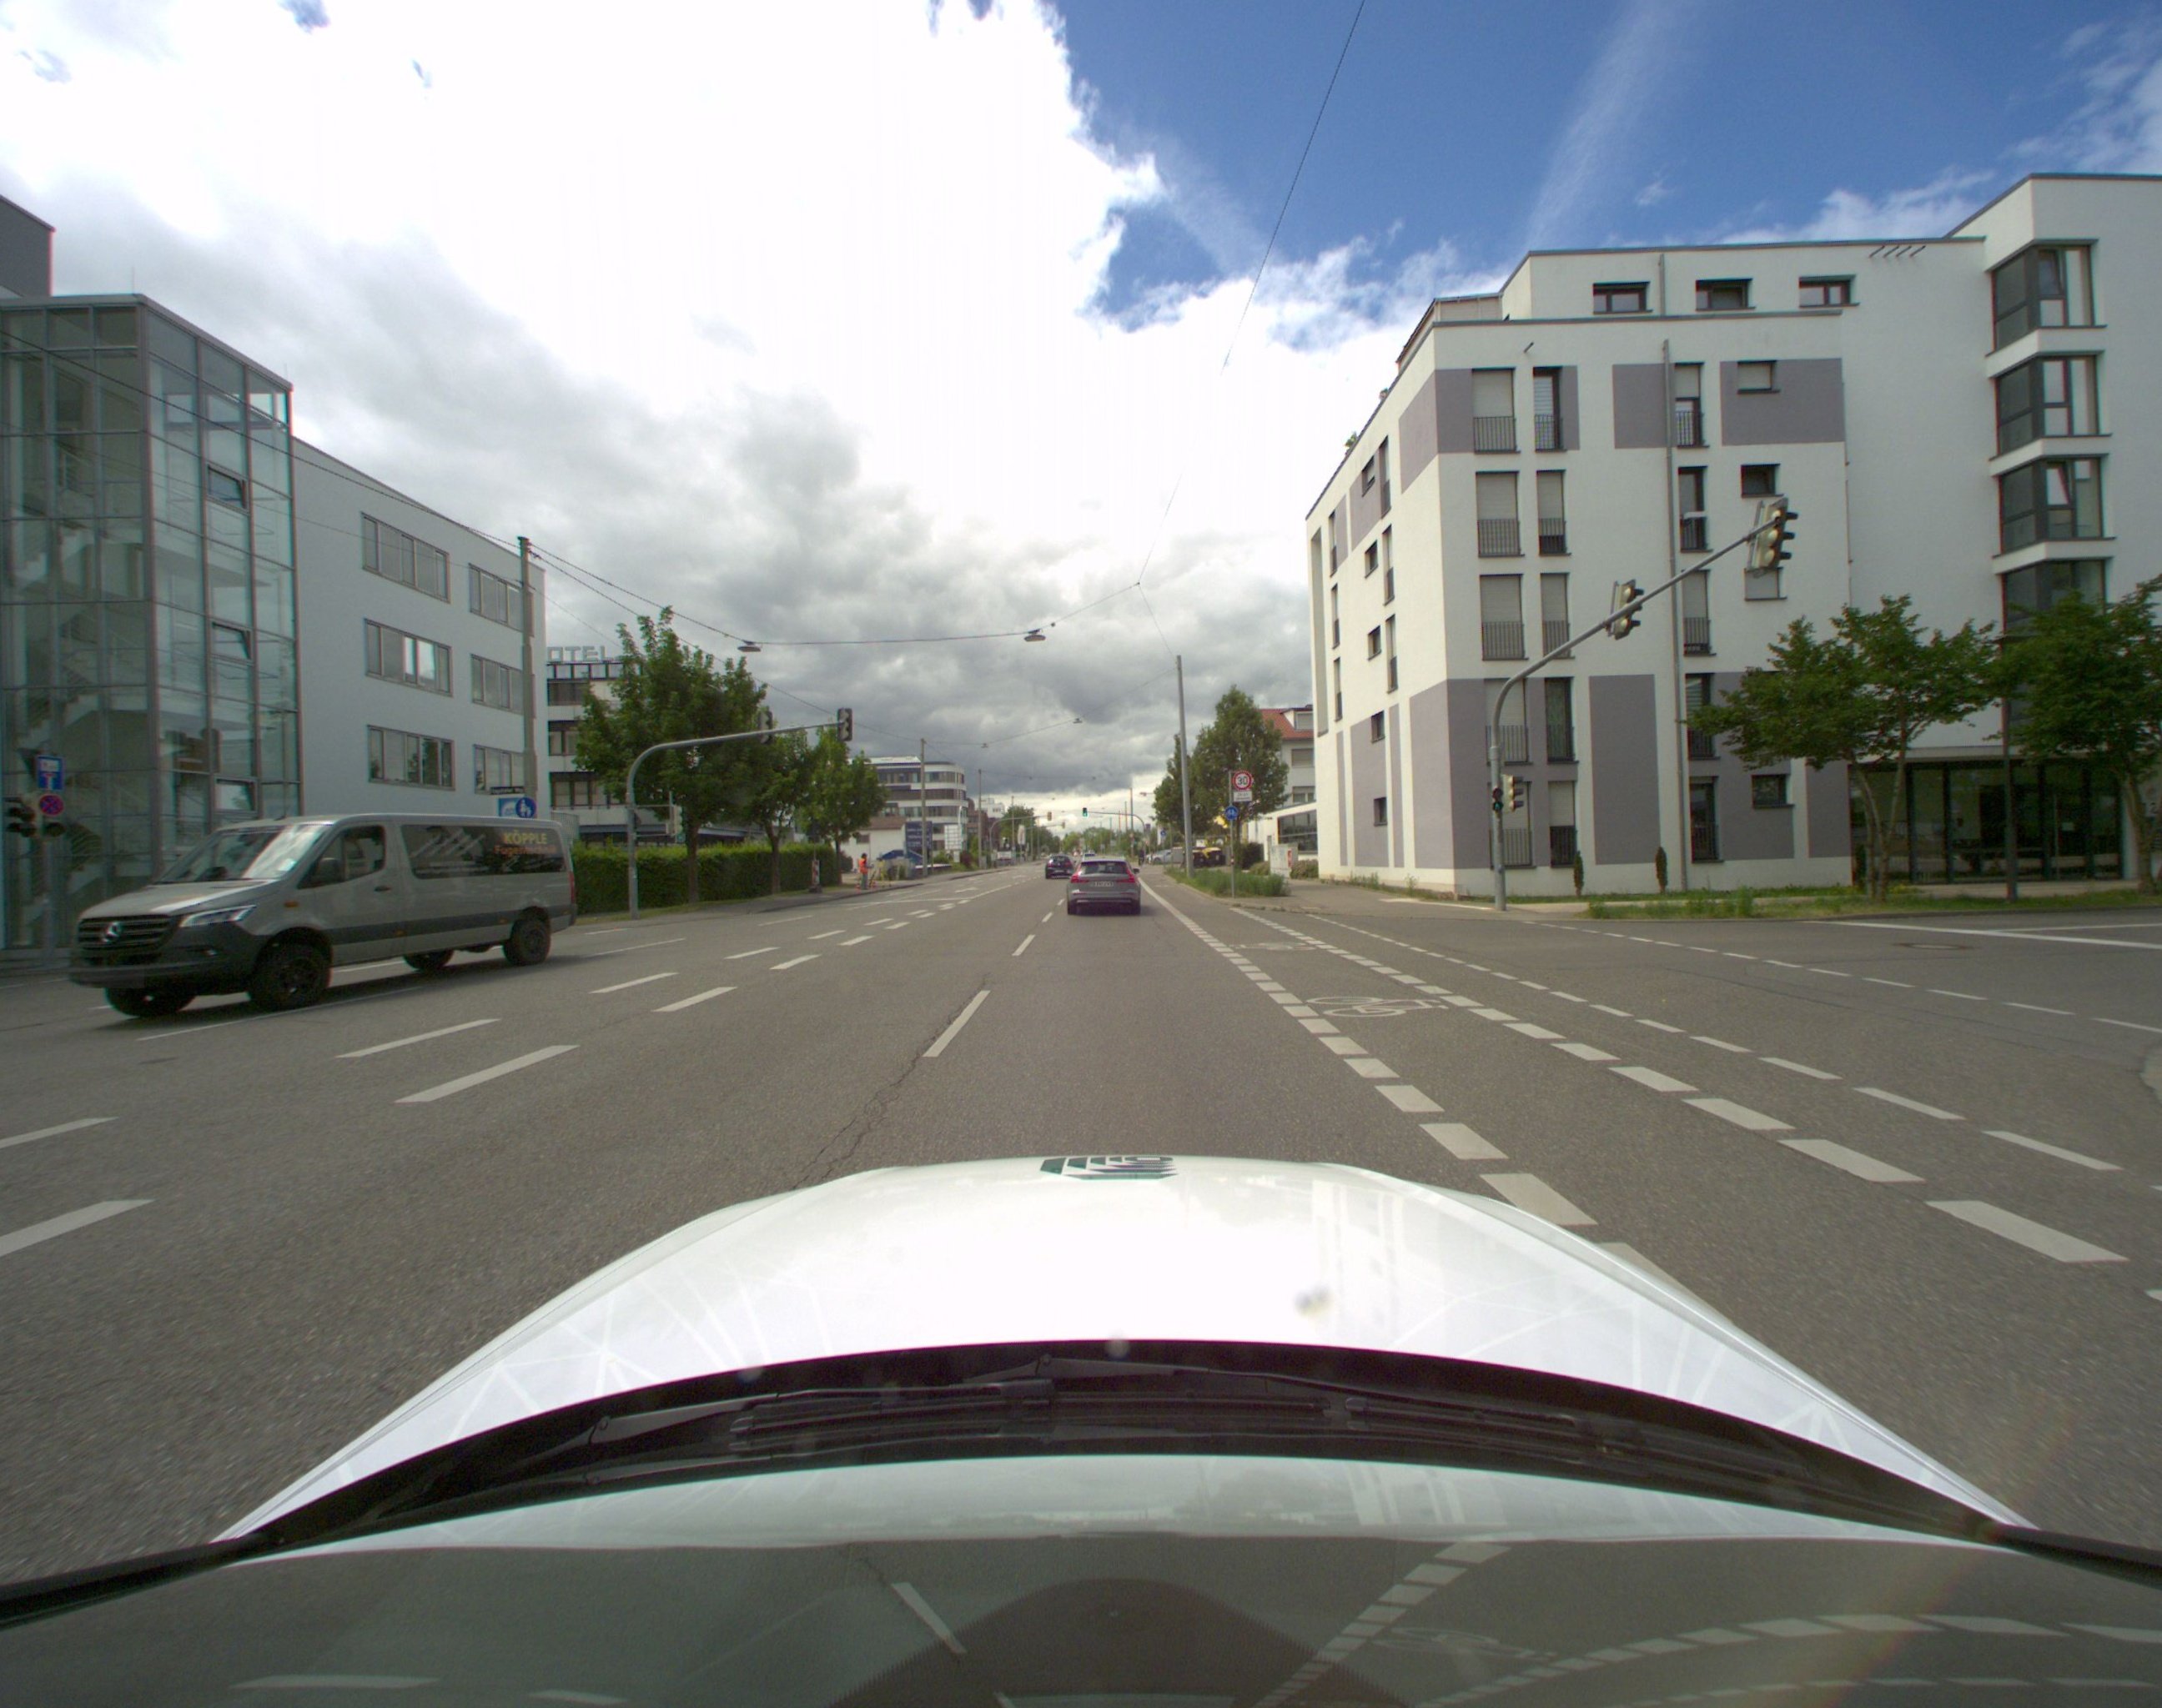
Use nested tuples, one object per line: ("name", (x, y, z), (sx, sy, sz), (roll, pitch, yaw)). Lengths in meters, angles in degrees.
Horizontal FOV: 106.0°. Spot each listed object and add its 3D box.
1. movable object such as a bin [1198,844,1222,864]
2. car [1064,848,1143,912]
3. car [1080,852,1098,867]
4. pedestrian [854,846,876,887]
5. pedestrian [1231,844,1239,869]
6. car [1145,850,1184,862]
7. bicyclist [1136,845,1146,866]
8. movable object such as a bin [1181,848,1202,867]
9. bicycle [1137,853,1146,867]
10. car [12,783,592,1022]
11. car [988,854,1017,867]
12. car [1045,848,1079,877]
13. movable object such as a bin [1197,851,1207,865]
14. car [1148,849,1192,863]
("movable object such as a bin", (9.605, 0.024, 60.674), (1.306, 1.435, 1.259), (-3, -2, 38))
("car", (0.551, 0.652, 21.671), (1.889, 1.554, 3.999), (0, -1, 0))
("car", (0.969, 0.630, 93.326), (1.986, 1.695, 4.000), (0, -1, 1))
("pedestrian", (-10.831, 0.640, 40.841), (0.717, 2.014, 0.815), (-1, -1, 44))
("pedestrian", (11.129, 0.179, 58.861), (0.503, 1.765, 0.503), (0, -1, 18))
("car", (9.766, 0.204, 95.227), (4.355, 1.404, 1.988), (0, 0, -1))
("bicyclist", (5.040, 0.121, 68.614), (0.635, 1.675, 0.890), (-5, 0, 2))
("movable object such as a bin", (8.217, 0.258, 60.408), (1.308, 1.361, 1.257), (-2, -1, 18))
("bicycle", (5.072, 0.509, 68.559), (0.635, 1.063, 1.978), (-5, 0, 2))
("car", (-10.276, 0.531, 11.837), (2.132, 2.471, 6.082), (-3, 0, 5))
("car", (-11.670, 1.008, 120.709), (4.088, 1.397, 1.904), (-7, 1, -6))
("car", (-1.153, 0.520, 49.834), (1.987, 1.717, 3.998), (0, -1, -1))
("movable object such as a bin", (9.094, 0.284, 61.249), (0.561, 1.026, 0.408), (-3, -2, 38))
("car", (9.718, 0.180, 89.452), (4.680, 1.493, 2.046), (-1, 0, 0))
